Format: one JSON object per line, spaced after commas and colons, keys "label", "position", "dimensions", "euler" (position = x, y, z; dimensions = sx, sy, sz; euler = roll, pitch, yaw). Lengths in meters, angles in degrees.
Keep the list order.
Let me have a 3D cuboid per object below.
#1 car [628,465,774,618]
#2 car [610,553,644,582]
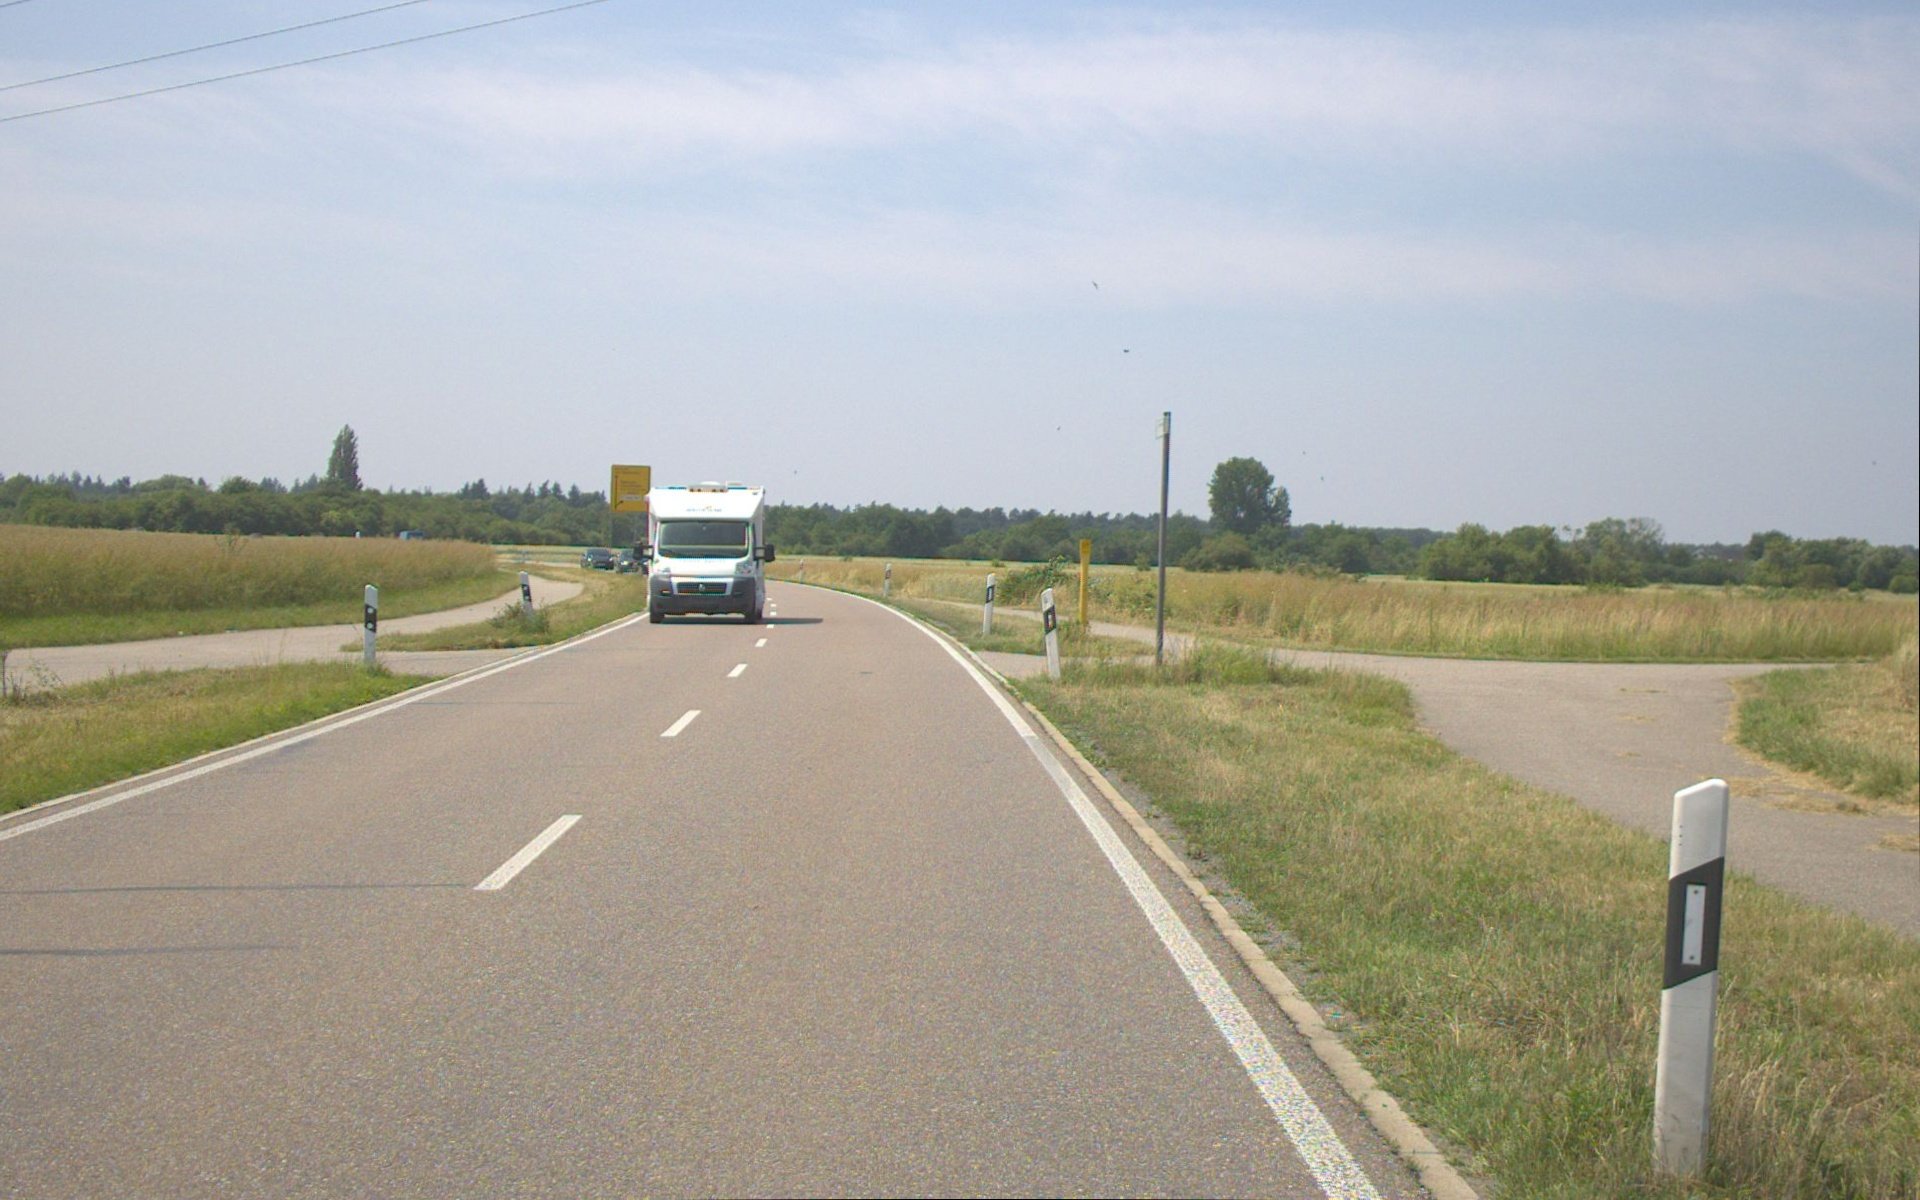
{"label": "car", "position": [-5.117, -1.179, 69.019], "dimensions": [2.397, 2.837, 7.628], "euler": [1, 1, -1]}
{"label": "car", "position": [-18.883, -1.825, 195.175], "dimensions": [1.712, 1.581, 3.502], "euler": [1, 0, -2]}
